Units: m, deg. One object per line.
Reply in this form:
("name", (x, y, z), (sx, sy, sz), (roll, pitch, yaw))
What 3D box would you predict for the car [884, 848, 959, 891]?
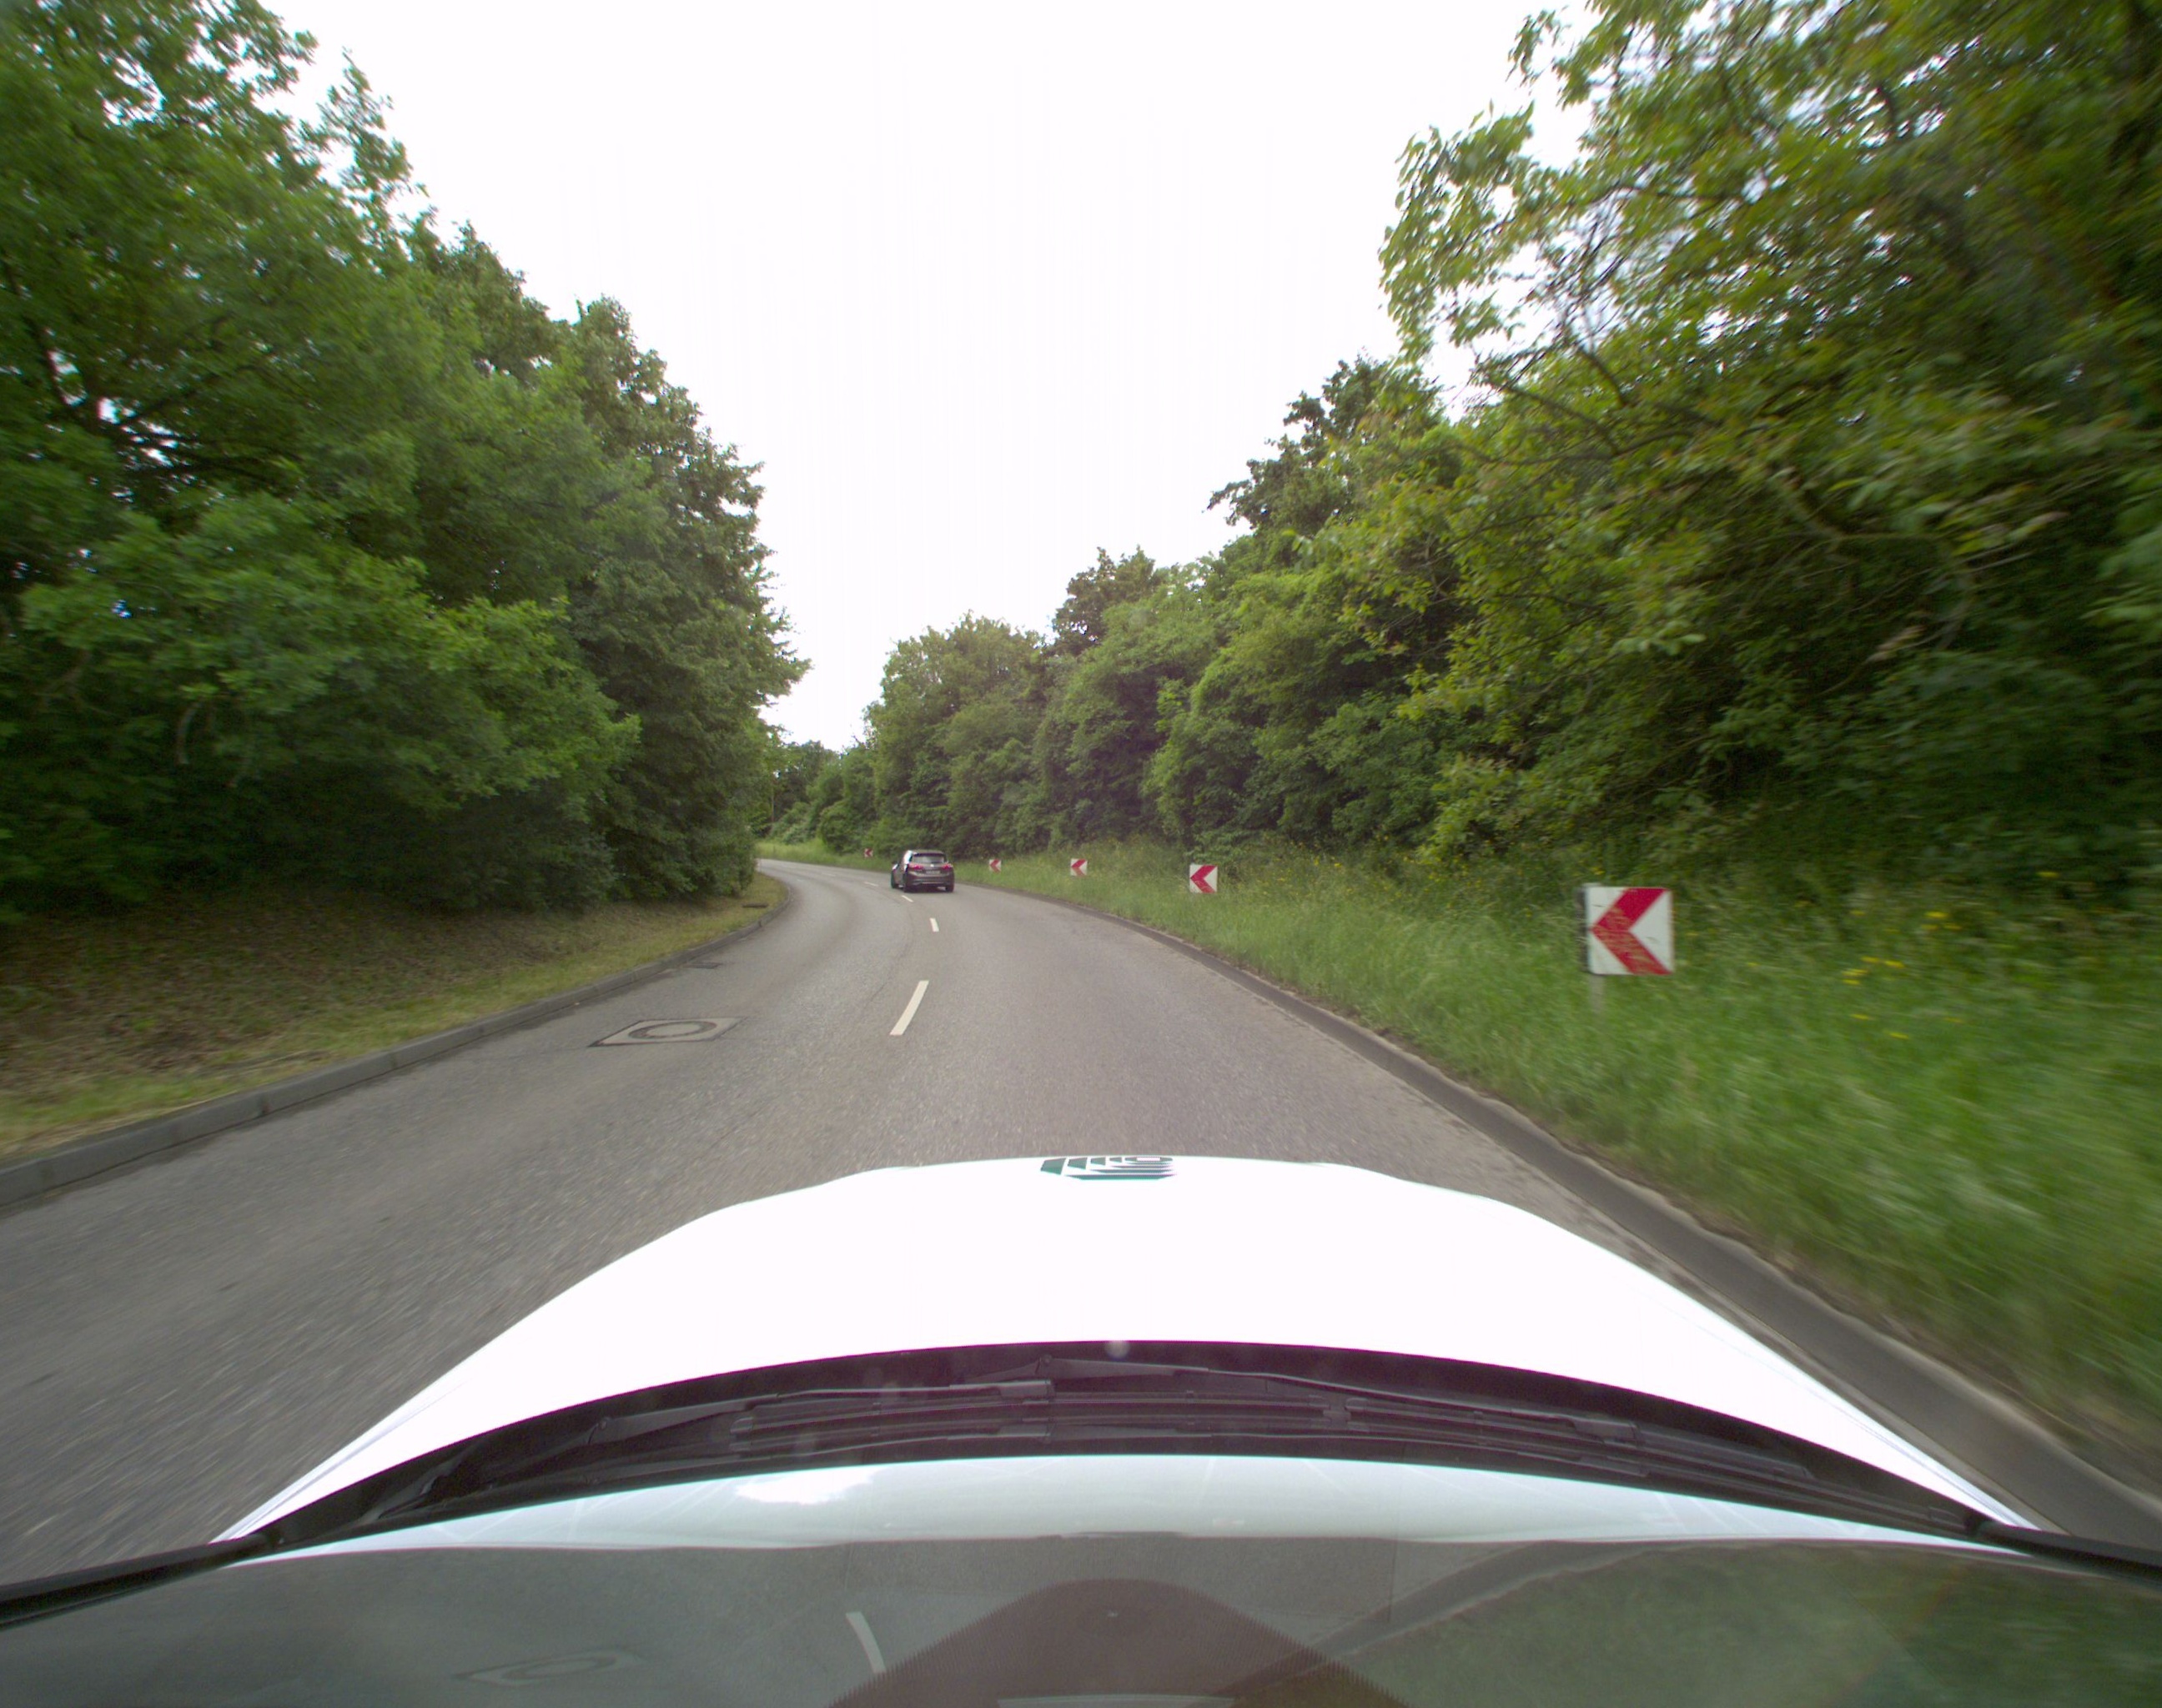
("car", (-6.025, 0.559, 30.426), (1.848, 1.483, 3.967), (2, -1, -25))
